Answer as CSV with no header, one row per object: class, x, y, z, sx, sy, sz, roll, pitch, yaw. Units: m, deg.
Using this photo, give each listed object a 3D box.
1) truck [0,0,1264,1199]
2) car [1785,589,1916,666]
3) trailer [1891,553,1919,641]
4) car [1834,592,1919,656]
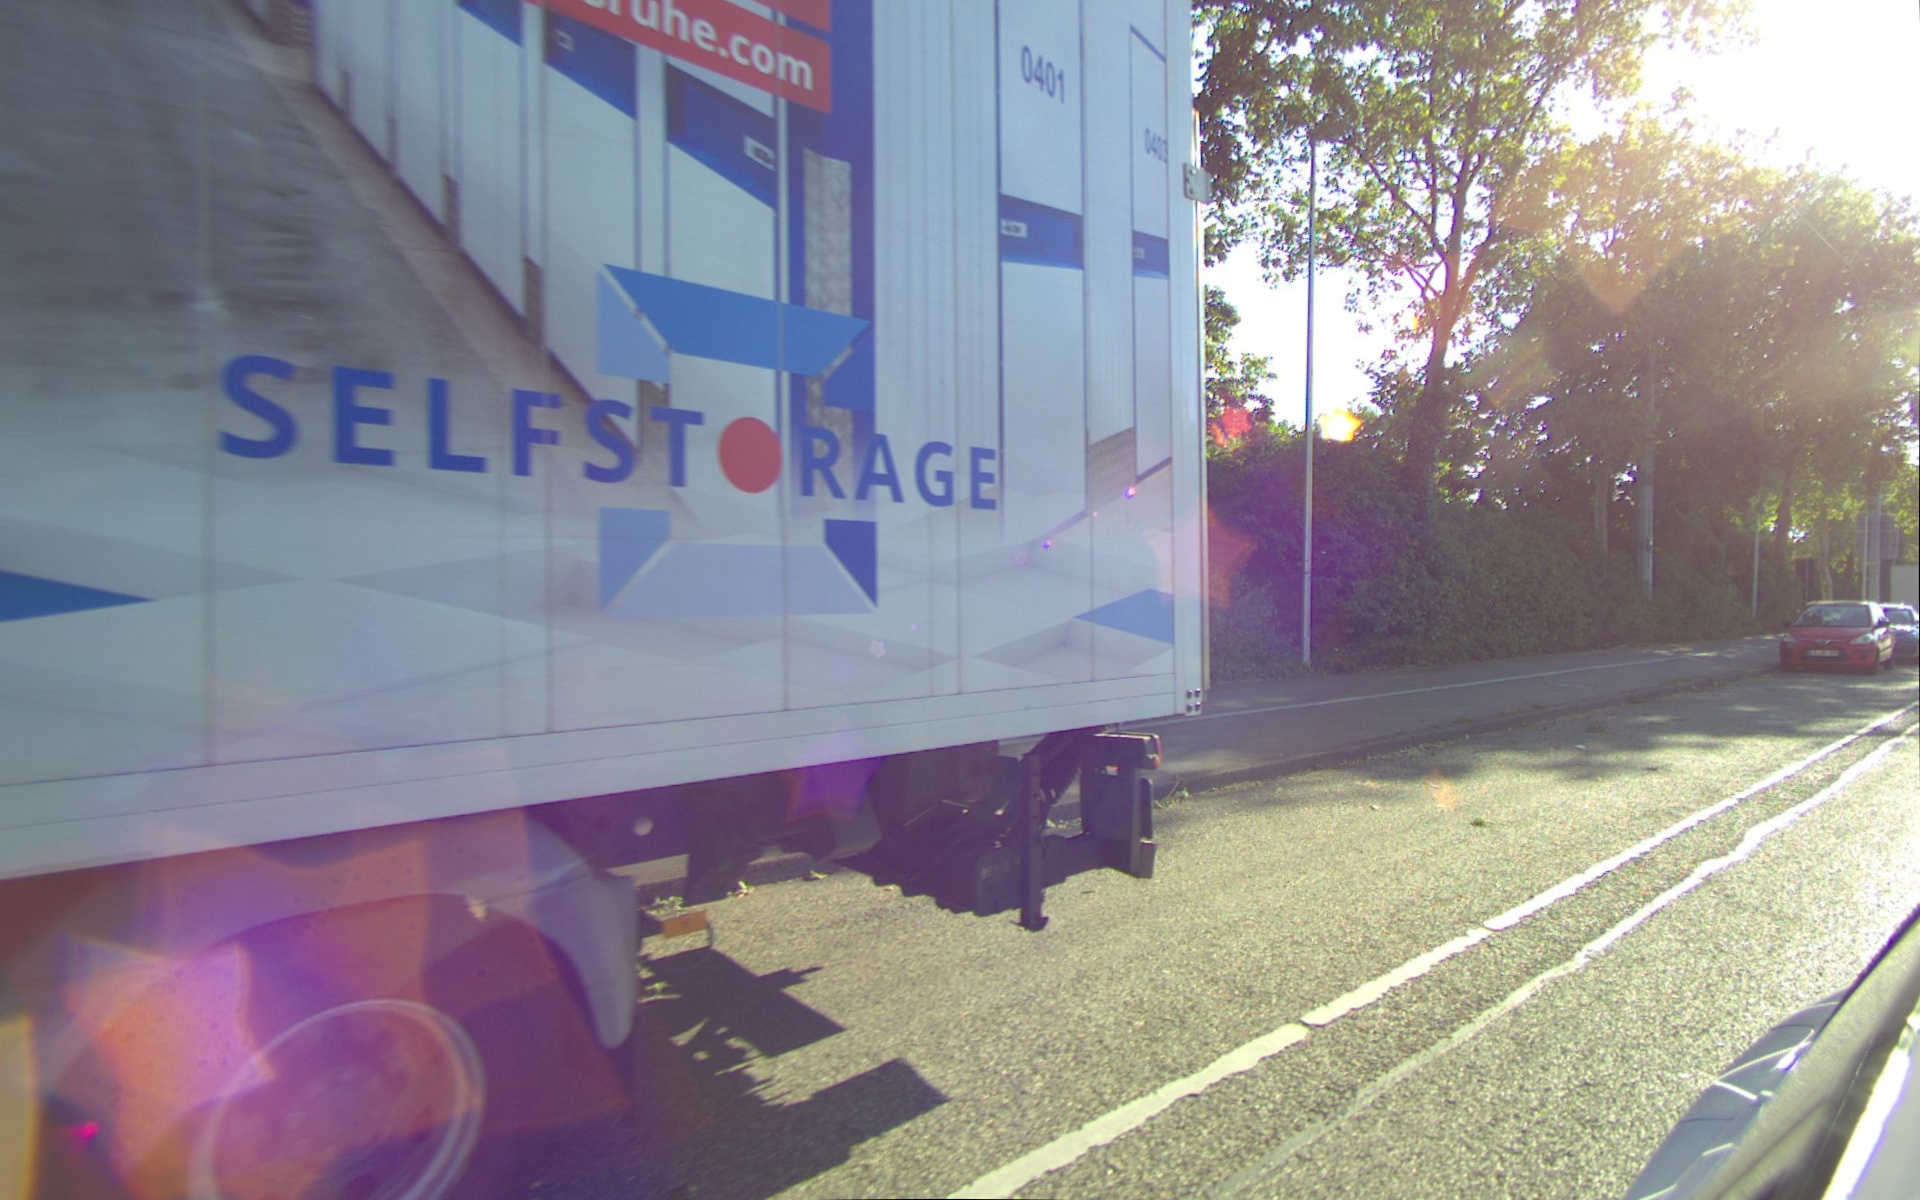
truck,-3.492,-0.492,1.596,9.913,3.832,2.746,0,0,-41
car,19.598,0.569,22.223,3.576,1.556,1.643,0,-1,-41
trailer,32.436,-0.097,32.879,5.838,2.728,2.257,0,1,-38
car,23.521,0.552,25.477,4.094,1.475,1.811,0,0,-42
